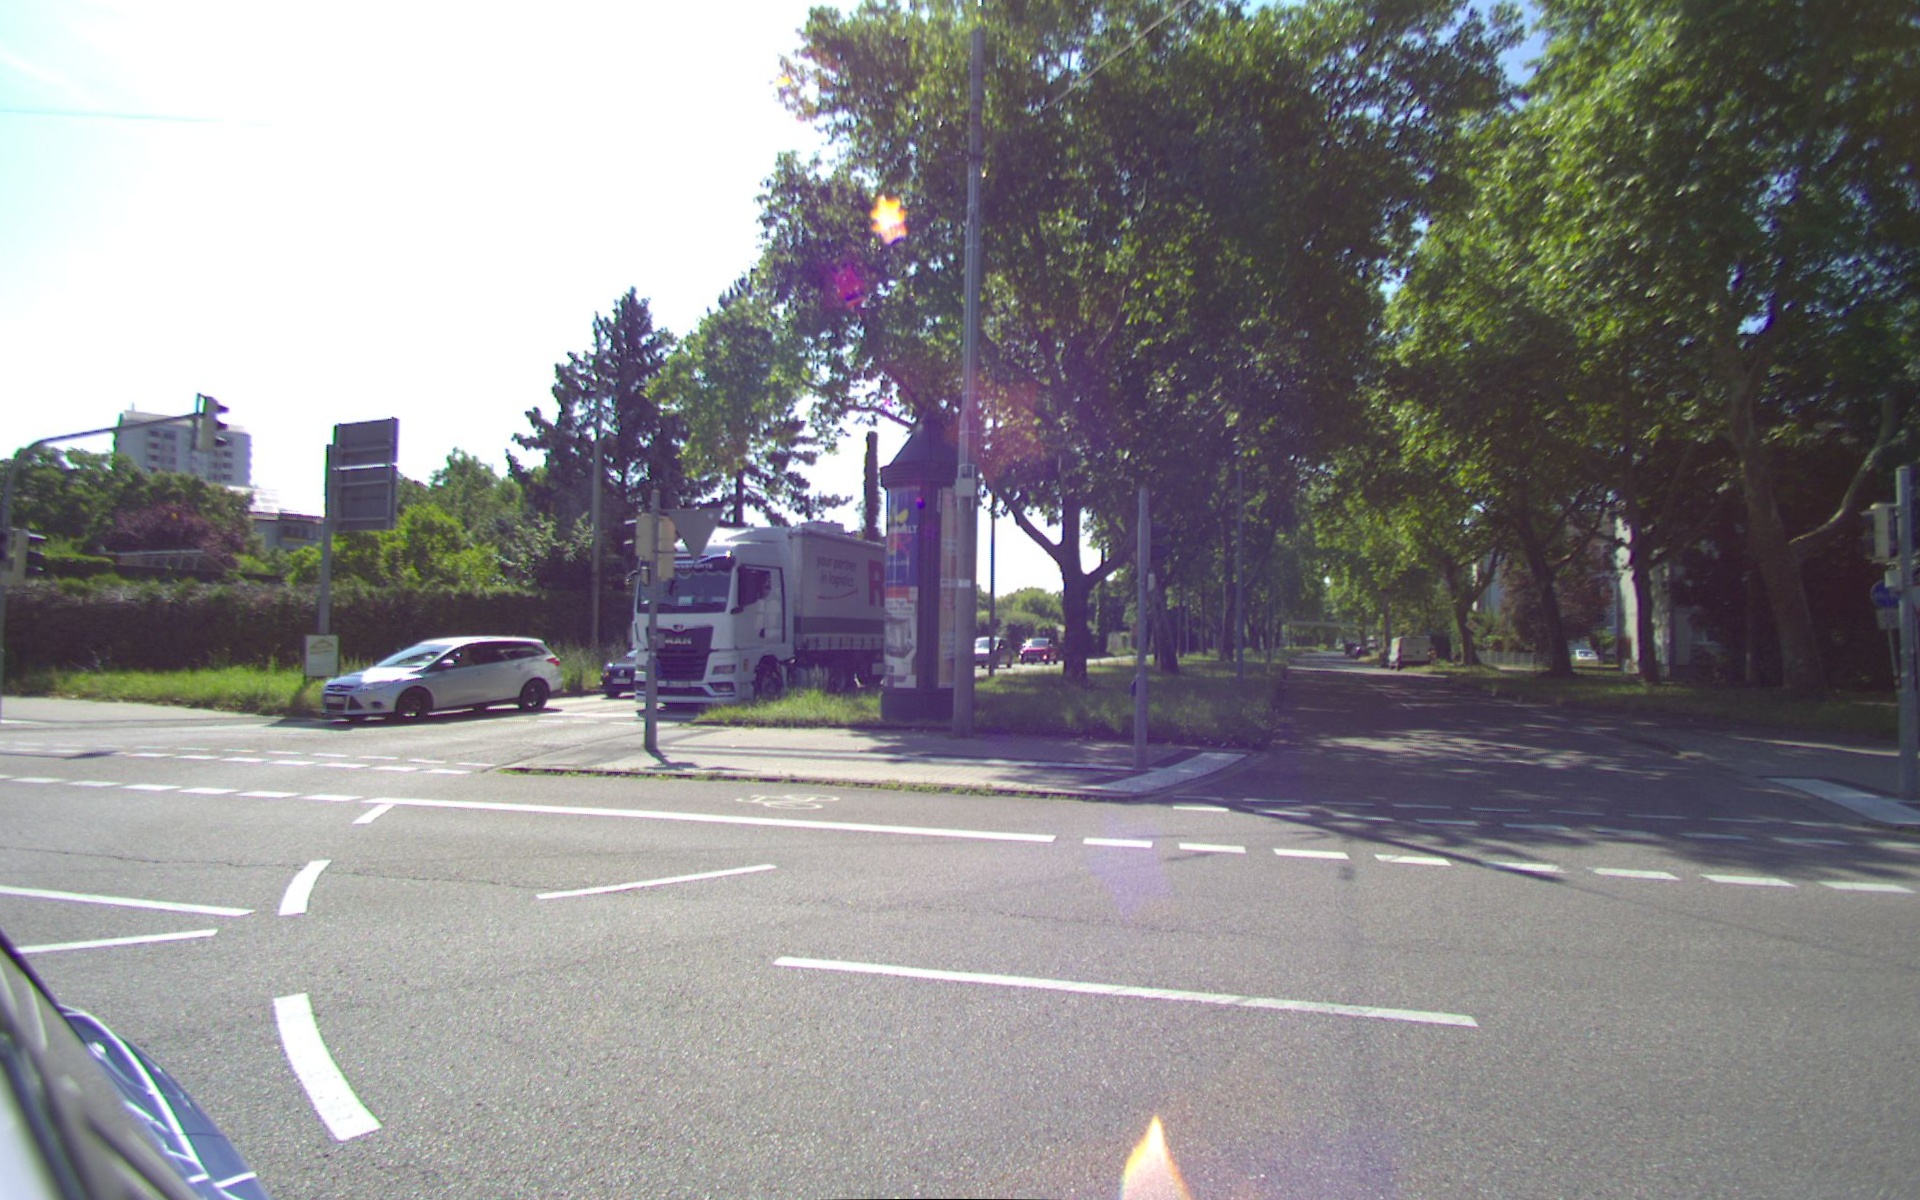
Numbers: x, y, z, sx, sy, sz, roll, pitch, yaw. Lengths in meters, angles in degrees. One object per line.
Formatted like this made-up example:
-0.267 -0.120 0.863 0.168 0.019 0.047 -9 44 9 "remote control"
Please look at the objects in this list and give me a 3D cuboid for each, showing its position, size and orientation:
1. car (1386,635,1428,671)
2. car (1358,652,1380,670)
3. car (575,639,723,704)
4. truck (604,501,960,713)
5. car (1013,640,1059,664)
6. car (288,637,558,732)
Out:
29.974 3.556 68.029 1.983 2.334 4.633 0 -3 16 "car"
36.242 5.418 89.690 1.690 1.498 3.891 0 -3 20 "car"
-7.599 1.722 25.073 1.622 1.444 3.714 -2 -2 20 "car"
-3.533 0.469 26.454 2.831 4.038 14.218 0 -3 18 "truck"
4.738 3.208 62.679 1.743 1.379 4.342 -2 -2 20 "car"
-9.767 1.465 18.842 1.745 1.522 4.364 -2 -2 22 "car"
